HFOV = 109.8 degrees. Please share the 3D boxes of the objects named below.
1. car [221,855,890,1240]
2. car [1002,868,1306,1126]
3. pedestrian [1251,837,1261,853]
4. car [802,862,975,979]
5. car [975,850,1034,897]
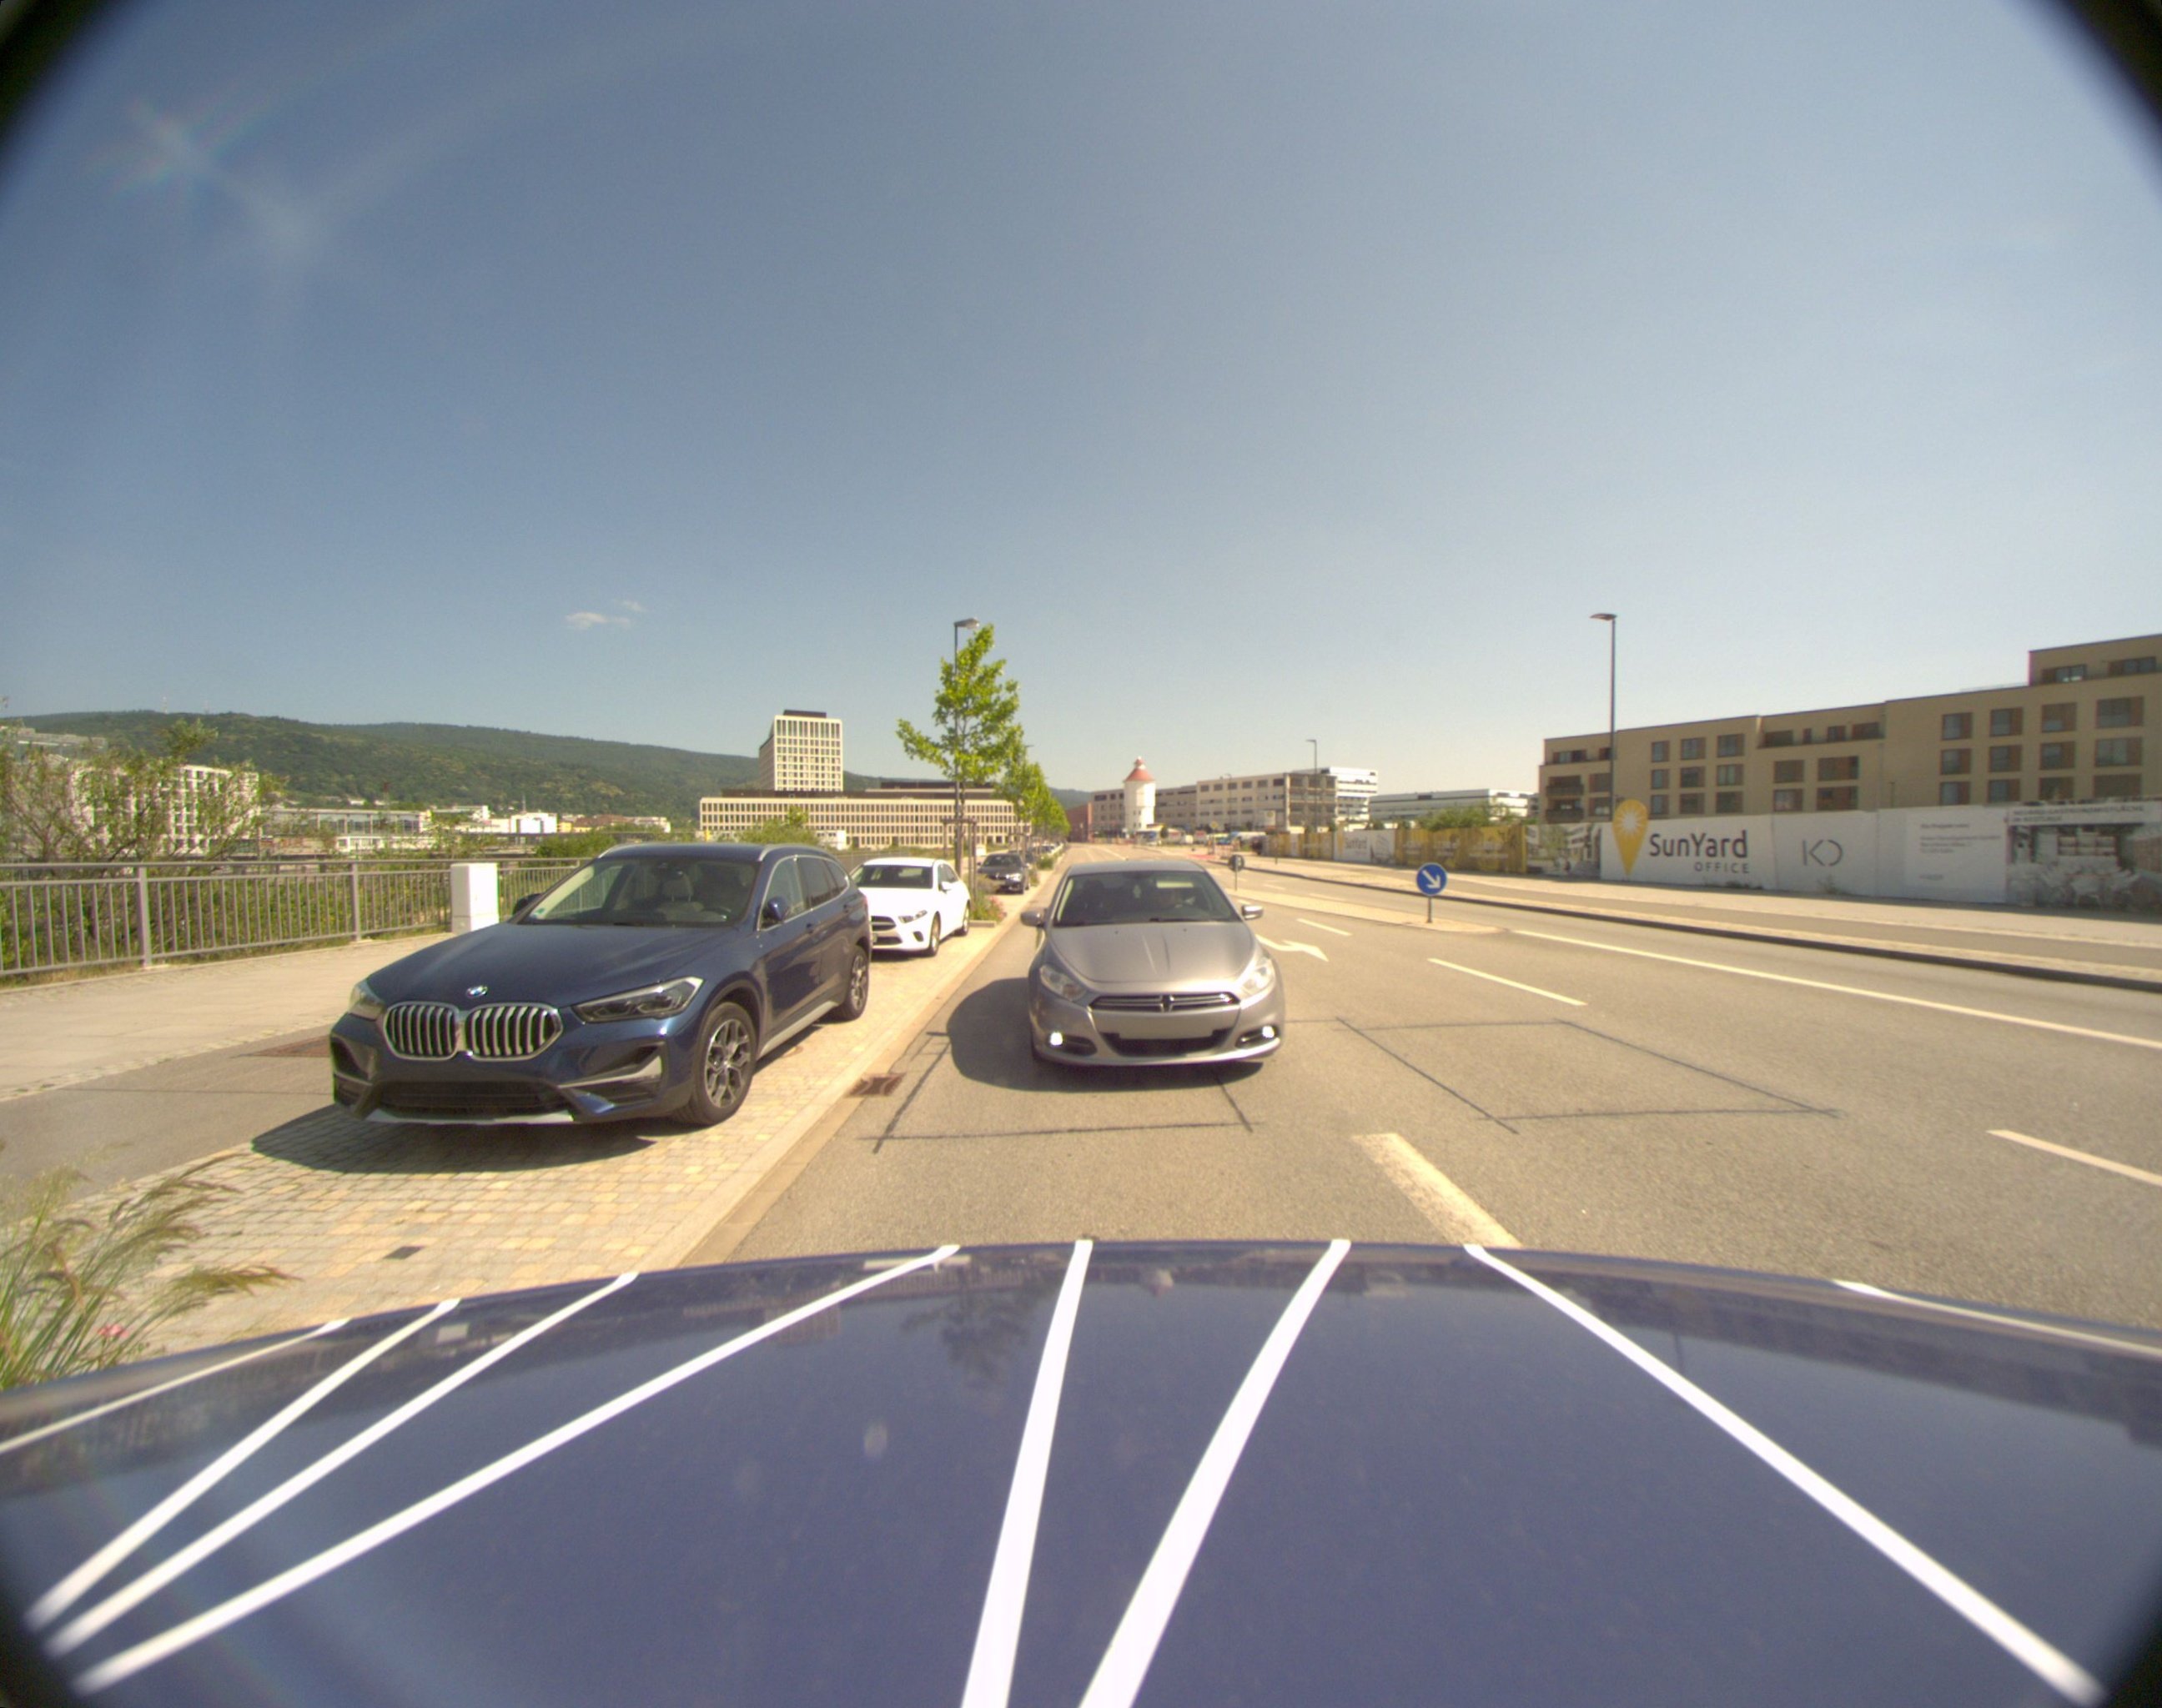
[{"bbox_3d":[-2.859,0.869,5.486,1.769,1.598,4.238,-2,1,1],"label":"car"},{"bbox_3d":[0.468,0.904,6.640,1.784,1.372,4.135,-2,1,1],"label":"car"},{"bbox_3d":[17.815,-0.928,77.515,0.705,1.577,0.617,-3,1,-36],"label":"pedestrian"},{"bbox_3d":[-2.883,0.921,12.285,1.664,1.447,3.999,-2,1,1],"label":"car"},{"bbox_3d":[-2.738,0.654,27.988,1.664,1.529,3.999,-2,1,1],"label":"car"}]
